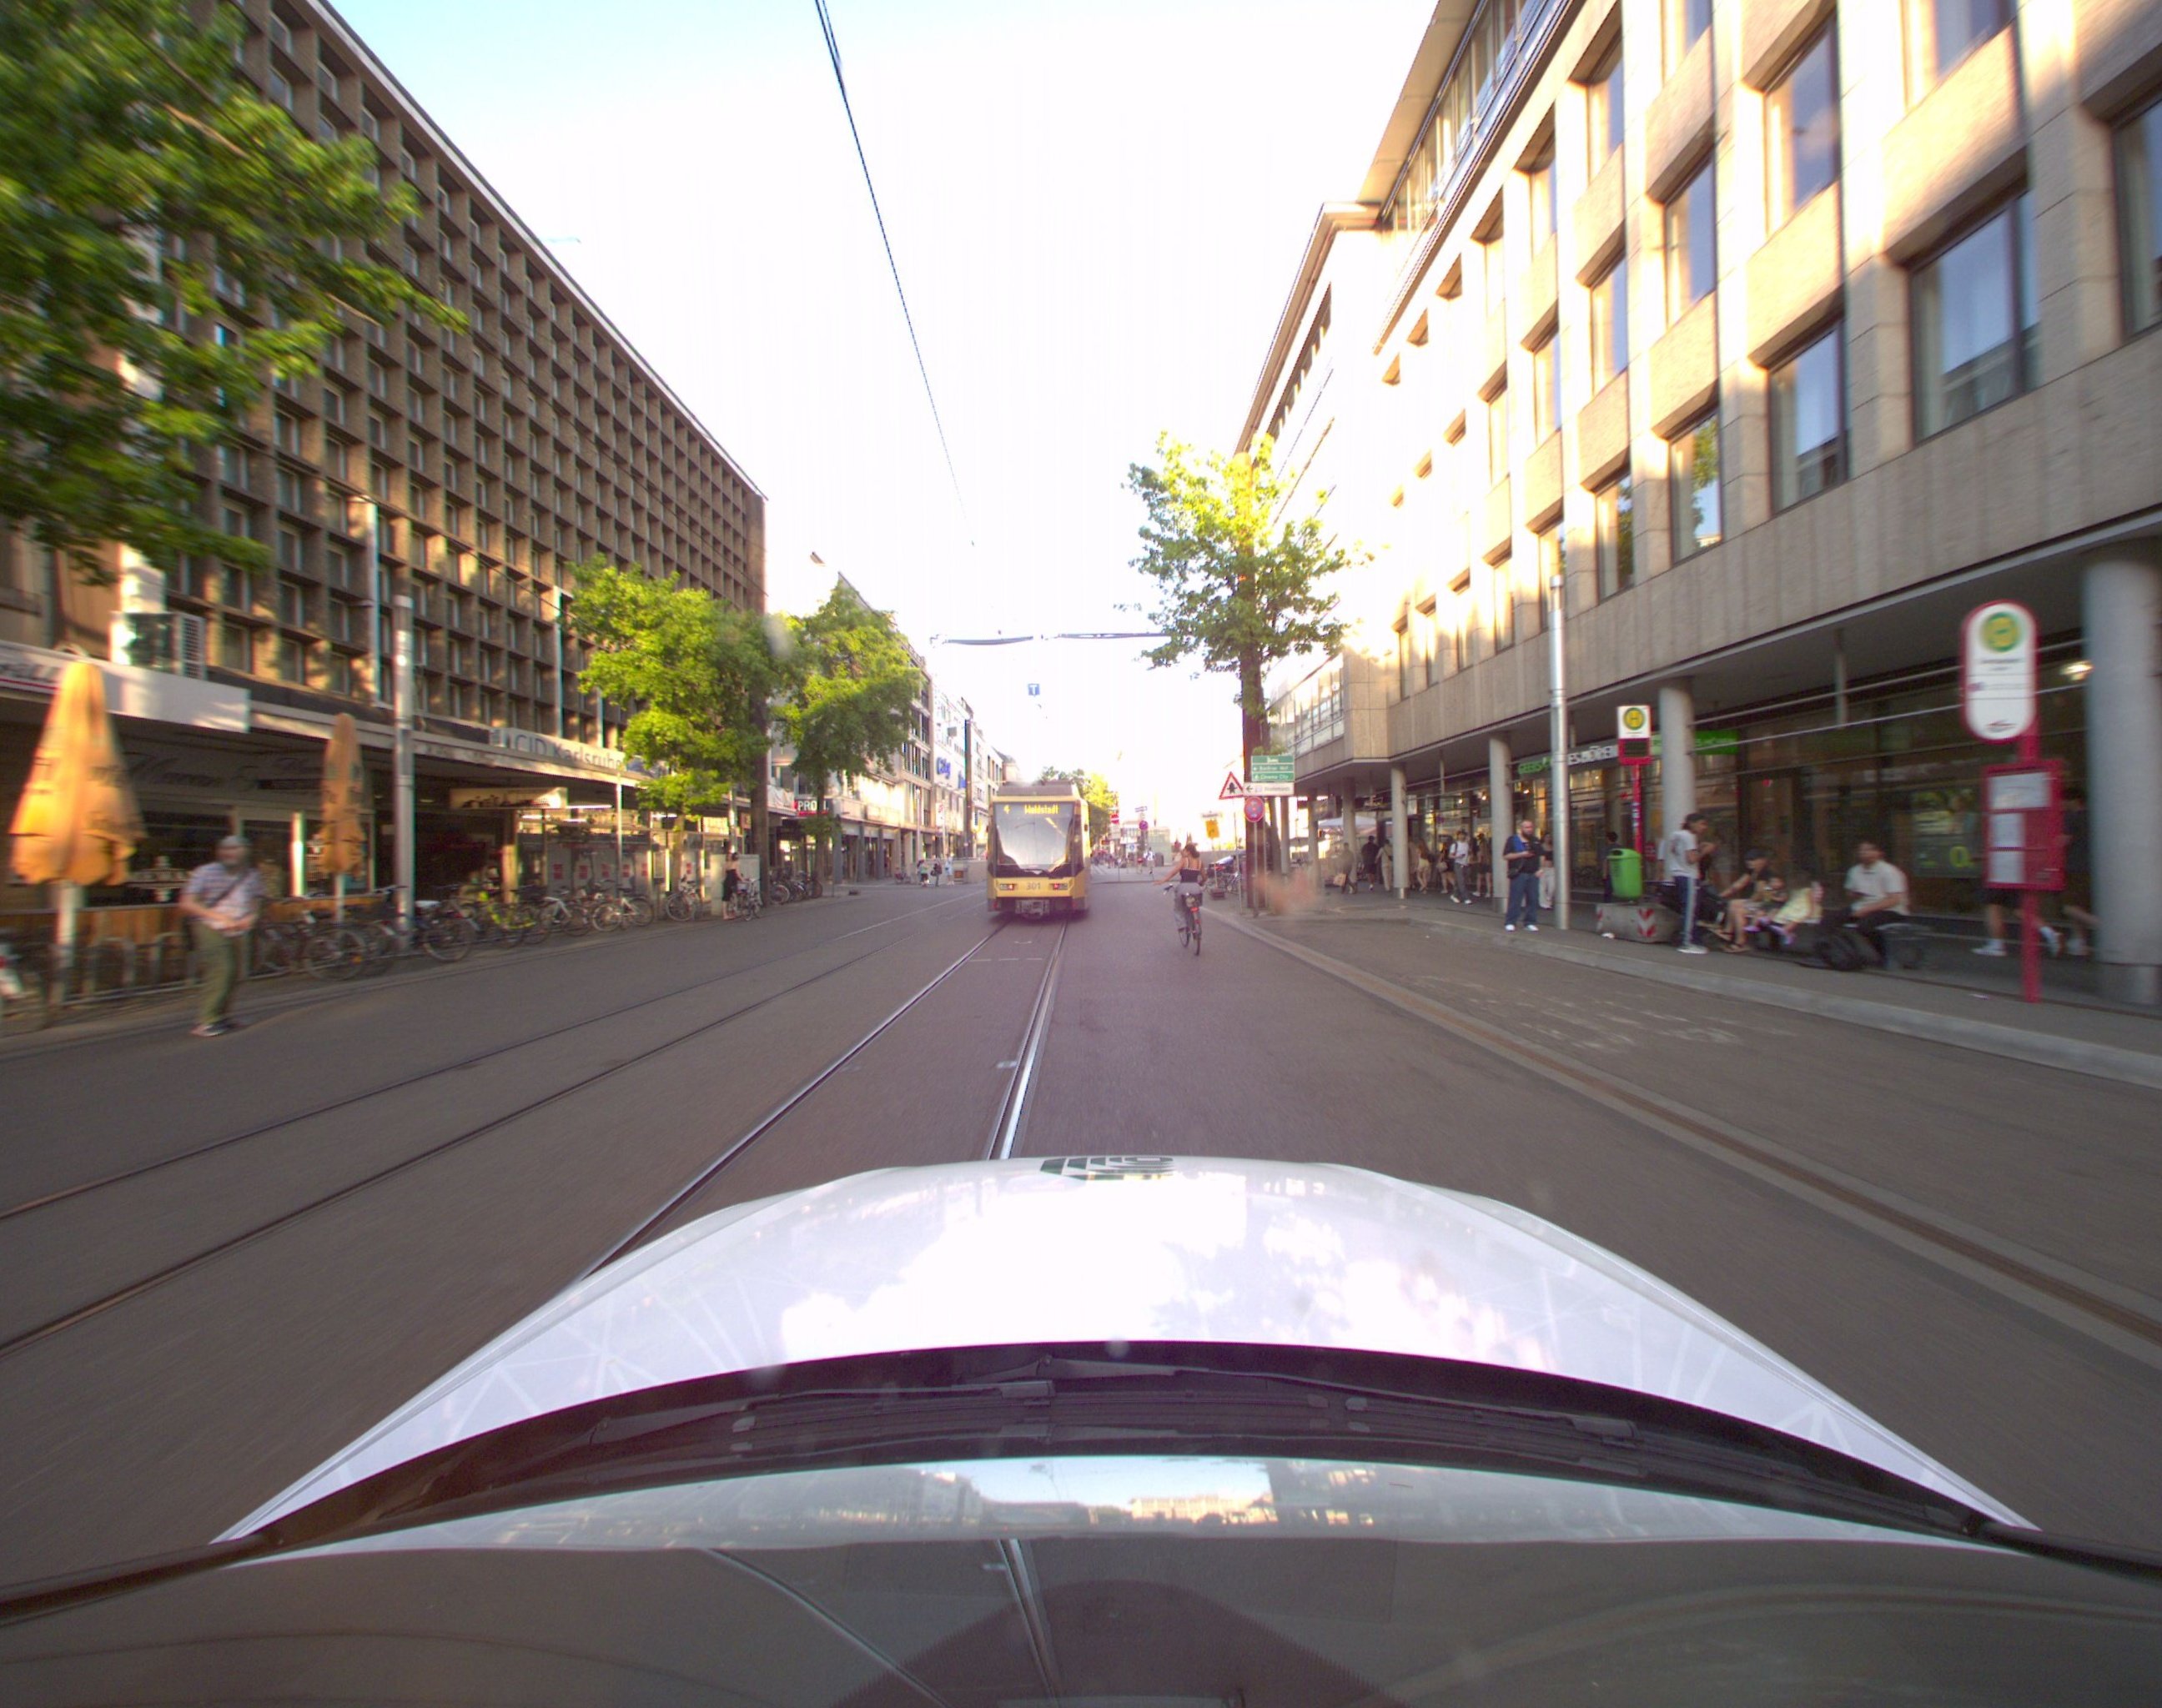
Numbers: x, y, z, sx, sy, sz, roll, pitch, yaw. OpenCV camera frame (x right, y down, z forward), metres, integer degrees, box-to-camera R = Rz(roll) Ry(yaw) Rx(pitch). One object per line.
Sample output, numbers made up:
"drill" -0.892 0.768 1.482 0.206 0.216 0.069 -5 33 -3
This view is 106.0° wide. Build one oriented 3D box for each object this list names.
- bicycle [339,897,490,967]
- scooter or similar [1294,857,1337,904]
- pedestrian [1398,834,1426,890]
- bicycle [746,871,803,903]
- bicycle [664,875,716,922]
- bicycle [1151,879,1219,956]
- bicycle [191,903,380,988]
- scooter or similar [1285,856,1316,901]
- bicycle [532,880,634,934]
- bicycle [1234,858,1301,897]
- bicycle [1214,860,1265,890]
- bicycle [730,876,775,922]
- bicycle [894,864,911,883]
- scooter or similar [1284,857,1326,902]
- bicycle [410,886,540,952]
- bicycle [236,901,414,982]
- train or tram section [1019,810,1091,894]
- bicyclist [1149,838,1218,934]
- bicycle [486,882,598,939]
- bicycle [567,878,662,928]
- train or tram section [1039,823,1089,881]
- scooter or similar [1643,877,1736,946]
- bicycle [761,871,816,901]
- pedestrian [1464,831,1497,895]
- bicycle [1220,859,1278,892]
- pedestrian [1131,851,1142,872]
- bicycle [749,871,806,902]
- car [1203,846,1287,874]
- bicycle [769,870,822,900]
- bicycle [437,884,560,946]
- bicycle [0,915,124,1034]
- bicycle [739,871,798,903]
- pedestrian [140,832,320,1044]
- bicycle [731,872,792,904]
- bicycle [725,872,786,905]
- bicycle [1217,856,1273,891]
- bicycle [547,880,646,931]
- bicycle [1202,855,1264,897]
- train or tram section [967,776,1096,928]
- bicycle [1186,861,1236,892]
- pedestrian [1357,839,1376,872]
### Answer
"bicycle" -9.922 1.149 12.161 1.769 0.990 0.488 0 1 -6
"scooter or similar" 6.592 0.742 22.883 1.119 1.251 0.492 -3 0 -30
"pedestrian" 11.236 0.271 27.667 0.659 1.848 0.720 -2 -1 6
"bicycle" -10.493 1.119 27.894 1.766 1.045 0.489 0 0 0
"bicycle" -9.682 1.082 20.216 0.487 1.045 1.776 -1 0 -2
"bicycle" 1.652 0.986 13.233 0.812 1.073 2.112 0 0 -1
"bicycle" -9.941 1.136 10.220 1.769 0.990 0.488 0 1 -6
"scooter or similar" 6.557 0.725 24.304 0.388 1.251 1.199 -2 0 38
"bicycle" -10.381 1.102 17.018 1.769 1.071 0.488 1 0 -6
"bicycle" 6.247 0.787 27.319 1.992 1.155 0.724 -3 0 -5
"bicycle" 6.340 0.829 32.644 1.848 1.109 0.666 -3 0 -3
"bicycle" -8.335 1.126 20.719 0.487 1.045 1.776 -1 0 -2
"bicycle" -11.181 1.219 51.005 0.496 1.107 1.803 -1 1 6
"scooter or similar" 6.511 0.734 23.670 1.195 1.251 0.389 -3 0 -29
"bicycle" -10.376 1.107 13.980 1.769 1.071 0.488 1 0 -6
"bicycle" -9.944 1.139 10.749 1.769 0.990 0.488 0 1 -6
"train or tram section" -1.003 -0.087 39.813 2.791 3.319 14.506 -1 0 0
"bicyclist" 1.639 0.498 13.159 0.994 1.502 0.857 0 0 -1
"bicycle" -10.427 1.094 15.798 1.769 1.071 0.488 1 0 -6
"bicycle" -10.414 1.096 18.215 1.769 1.071 0.488 1 0 -6
"train or tram section" -0.948 -0.114 54.334 2.791 3.319 14.506 -1 0 0
"scooter or similar" 8.294 0.774 11.134 0.827 0.884 0.689 0 -1 14
"bicycle" -10.476 1.128 29.198 1.766 1.045 0.489 0 0 0
"pedestrian" 11.061 0.237 22.561 0.568 1.731 0.617 -2 0 -1
"bicycle" 6.236 0.799 30.269 1.912 1.077 0.762 -3 0 -5
"pedestrian" 4.901 0.631 71.963 0.734 1.823 0.816 -1 0 -14
"bicycle" -10.487 1.121 28.137 1.766 1.045 0.489 0 0 0
"car" 8.732 0.329 43.400 4.041 1.409 1.769 -1 -1 -11
"bicycle" -10.433 1.132 29.779 1.766 1.045 0.489 0 0 0
"bicycle" -10.390 1.085 14.557 1.769 1.071 0.488 1 0 -6
"bicycle" -9.961 1.106 7.698 1.758 0.966 0.491 1 -1 17
"bicycle" -10.476 1.115 27.316 1.766 1.045 0.489 0 0 0
"pedestrian" -7.803 0.712 7.488 0.978 1.792 0.827 1 0 24
"bicycle" -10.484 1.111 26.745 1.766 1.045 0.489 0 0 0
"bicycle" -10.493 1.107 26.253 1.766 1.045 0.489 0 0 0
"bicycle" 6.245 0.729 31.016 1.912 1.222 0.762 -3 0 -5
"bicycle" -10.430 1.106 17.563 1.769 1.071 0.488 1 0 -6
"bicycle" 5.266 0.744 28.276 1.912 1.333 0.724 -3 0 -5
"train or tram section" -1.065 -0.061 25.307 2.791 3.319 14.506 -1 0 0
"bicycle" 5.176 0.882 32.451 1.848 1.109 0.666 -3 0 -3
"pedestrian" 16.274 0.064 46.424 0.805 1.823 0.807 -2 1 5
